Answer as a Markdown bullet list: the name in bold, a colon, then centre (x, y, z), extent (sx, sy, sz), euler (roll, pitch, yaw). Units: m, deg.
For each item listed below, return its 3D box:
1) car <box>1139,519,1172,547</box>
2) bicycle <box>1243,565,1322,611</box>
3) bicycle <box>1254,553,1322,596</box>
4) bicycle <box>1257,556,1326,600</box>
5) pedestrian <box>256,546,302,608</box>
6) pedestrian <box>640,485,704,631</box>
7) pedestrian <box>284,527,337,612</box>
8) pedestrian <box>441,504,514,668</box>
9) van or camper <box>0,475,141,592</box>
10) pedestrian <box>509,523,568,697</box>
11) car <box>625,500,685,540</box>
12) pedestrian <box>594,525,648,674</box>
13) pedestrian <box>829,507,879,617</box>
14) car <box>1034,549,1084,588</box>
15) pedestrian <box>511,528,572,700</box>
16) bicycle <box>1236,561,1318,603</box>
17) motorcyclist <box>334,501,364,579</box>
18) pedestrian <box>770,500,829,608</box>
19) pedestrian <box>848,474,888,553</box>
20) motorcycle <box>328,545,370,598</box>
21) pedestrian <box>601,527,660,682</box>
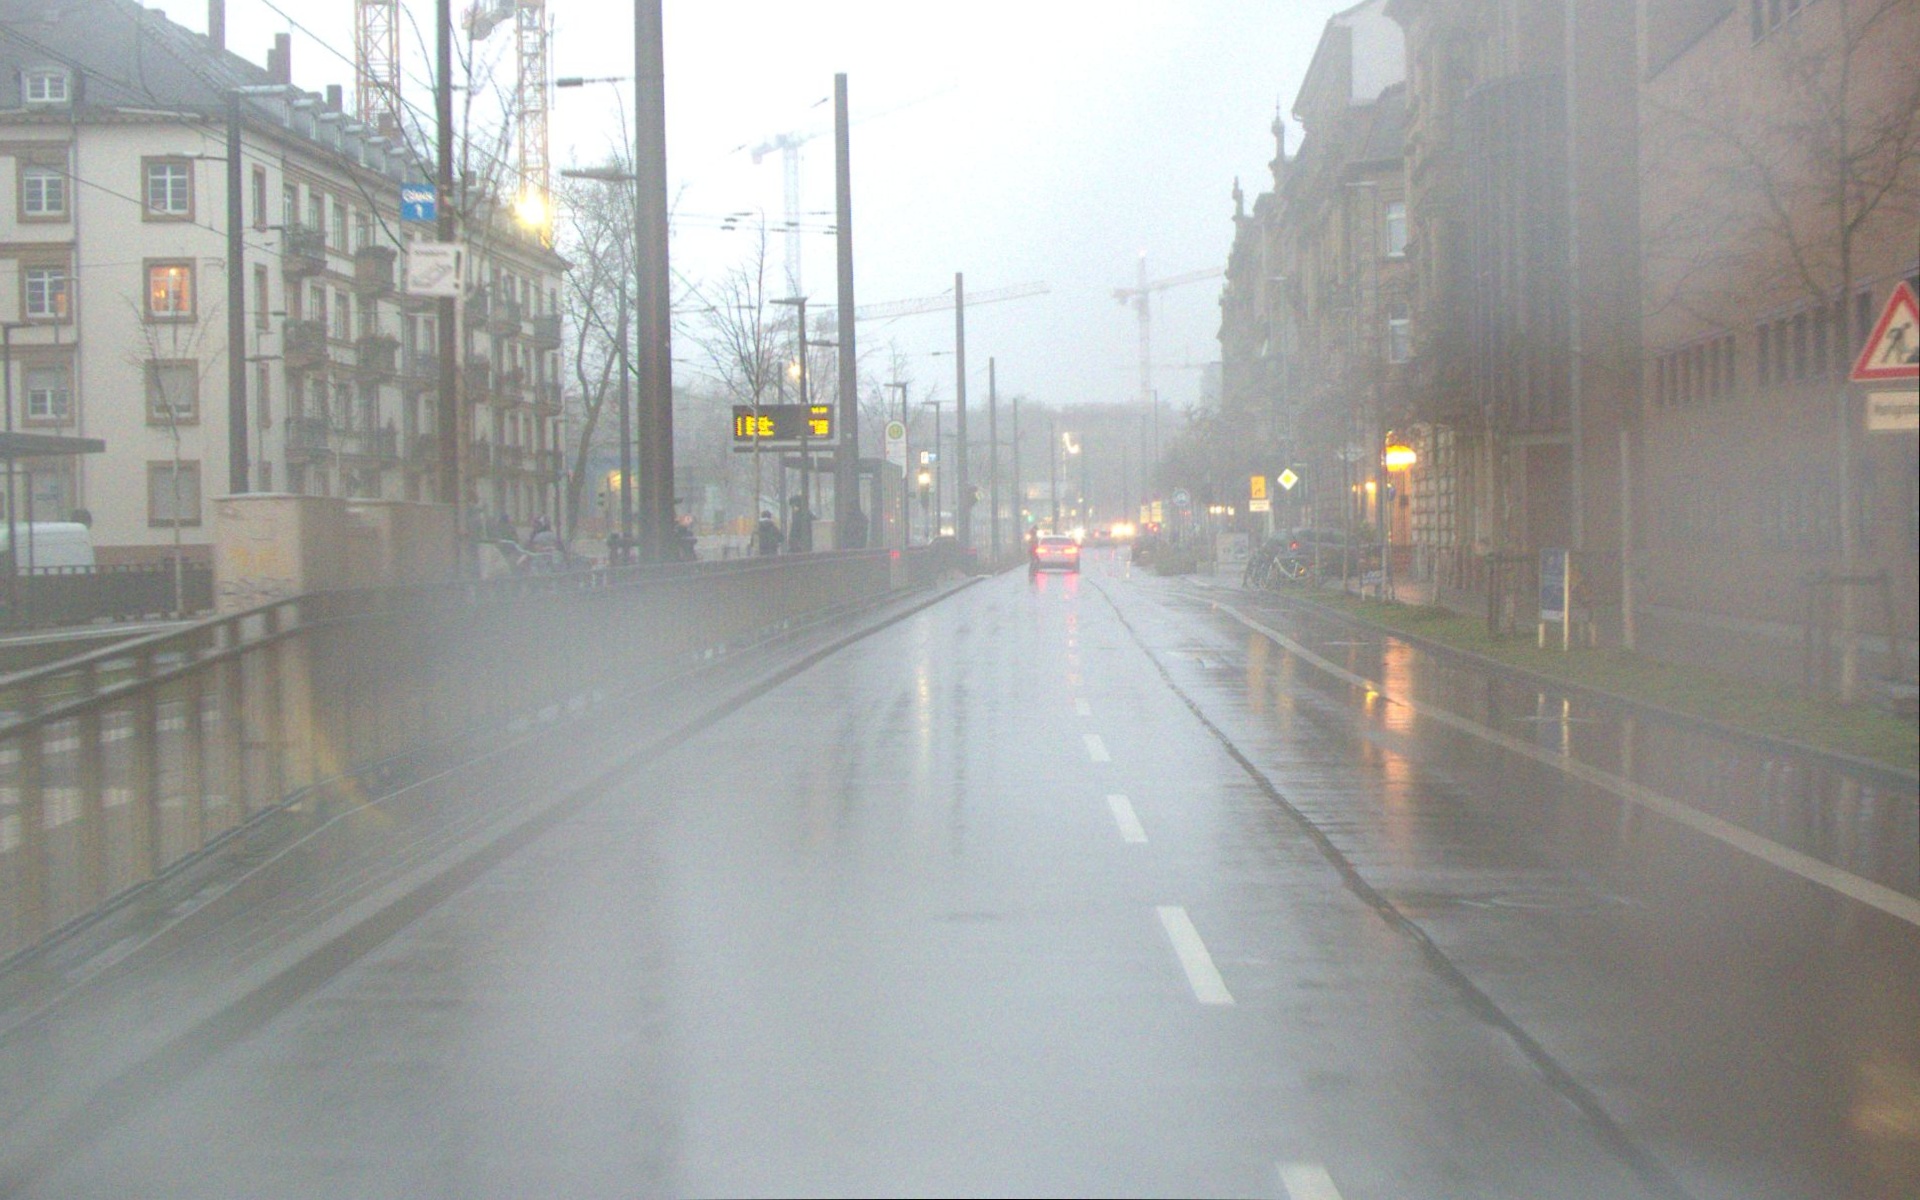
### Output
- **car**: centre (11.255, -3.851, 197.575), extent (1.799, 1.598, 3.769), euler (-1, 1, 5)
- **bicycle**: centre (8.561, -0.308, 91.291), extent (2.008, 1.091, 0.425), euler (-4, 1, 1)
- **bicycle**: centre (8.578, -0.674, 89.919), extent (1.730, 1.051, 0.371), euler (-2, 1, 1)
- **bicycle**: centre (8.624, -0.572, 89.417), extent (1.730, 1.051, 0.371), euler (-2, 1, 1)
- **pedestrian**: centre (-12.245, -0.410, 61.805), extent (0.607, 1.099, 0.591), euler (0, 1, -38)
- **pedestrian**: centre (-3.366, -0.493, 40.112), extent (0.645, 1.698, 0.568), euler (0, 1, -16)
- **pedestrian**: centre (-11.712, -0.547, 61.972), extent (0.634, 1.519, 0.756), euler (0, 1, -39)
- **pedestrian**: centre (-4.708, -0.141, 33.587), extent (0.618, 1.584, 0.622), euler (-1, 1, 0)
- **van or camper**: centre (-22.330, -1.610, 82.545), extent (2.774, 2.673, 6.752), euler (1, 1, 9)
- **pedestrian**: centre (-4.071, 0.091, 33.236), extent (0.481, 1.673, 0.563), euler (-1, 1, 0)
- **car**: centre (-10.478, -2.744, 118.418), extent (1.682, 1.349, 3.546), euler (0, 1, 1)
- **pedestrian**: centre (-3.885, -0.012, 39.447), extent (0.540, 1.686, 0.643), euler (-1, 1, 0)
- **pedestrian**: centre (-1.893, -0.682, 61.466), extent (0.809, 1.941, 0.804), euler (-1, 1, 3)
- **car**: centre (3.887, -1.254, 134.749), extent (1.784, 1.462, 3.148), euler (-1, 1, 4)
- **pedestrian**: centre (-3.899, 0.129, 32.047), extent (0.481, 1.584, 0.563), euler (-1, 1, 0)
- **bicycle**: centre (8.605, -0.501, 93.311), extent (2.144, 1.051, 0.484), euler (-2, 1, 1)
- **motorcyclist**: centre (-11.746, -1.152, 66.123), extent (0.499, 1.490, 0.556), euler (1, 1, -3)
- **pedestrian**: centre (-2.549, -0.735, 54.467), extent (0.776, 1.698, 0.773), euler (0, 1, -16)
- **pedestrian**: centre (-1.791, -1.679, 66.811), extent (0.679, 1.511, 0.619), euler (0, 1, -10)
- **motorcycle**: centre (-11.739, -0.554, 66.088), extent (0.512, 1.005, 1.807), euler (1, 1, -2)
- **pedestrian**: centre (-3.385, 0.041, 35.340), extent (0.540, 1.584, 0.563), euler (-1, 1, 0)
